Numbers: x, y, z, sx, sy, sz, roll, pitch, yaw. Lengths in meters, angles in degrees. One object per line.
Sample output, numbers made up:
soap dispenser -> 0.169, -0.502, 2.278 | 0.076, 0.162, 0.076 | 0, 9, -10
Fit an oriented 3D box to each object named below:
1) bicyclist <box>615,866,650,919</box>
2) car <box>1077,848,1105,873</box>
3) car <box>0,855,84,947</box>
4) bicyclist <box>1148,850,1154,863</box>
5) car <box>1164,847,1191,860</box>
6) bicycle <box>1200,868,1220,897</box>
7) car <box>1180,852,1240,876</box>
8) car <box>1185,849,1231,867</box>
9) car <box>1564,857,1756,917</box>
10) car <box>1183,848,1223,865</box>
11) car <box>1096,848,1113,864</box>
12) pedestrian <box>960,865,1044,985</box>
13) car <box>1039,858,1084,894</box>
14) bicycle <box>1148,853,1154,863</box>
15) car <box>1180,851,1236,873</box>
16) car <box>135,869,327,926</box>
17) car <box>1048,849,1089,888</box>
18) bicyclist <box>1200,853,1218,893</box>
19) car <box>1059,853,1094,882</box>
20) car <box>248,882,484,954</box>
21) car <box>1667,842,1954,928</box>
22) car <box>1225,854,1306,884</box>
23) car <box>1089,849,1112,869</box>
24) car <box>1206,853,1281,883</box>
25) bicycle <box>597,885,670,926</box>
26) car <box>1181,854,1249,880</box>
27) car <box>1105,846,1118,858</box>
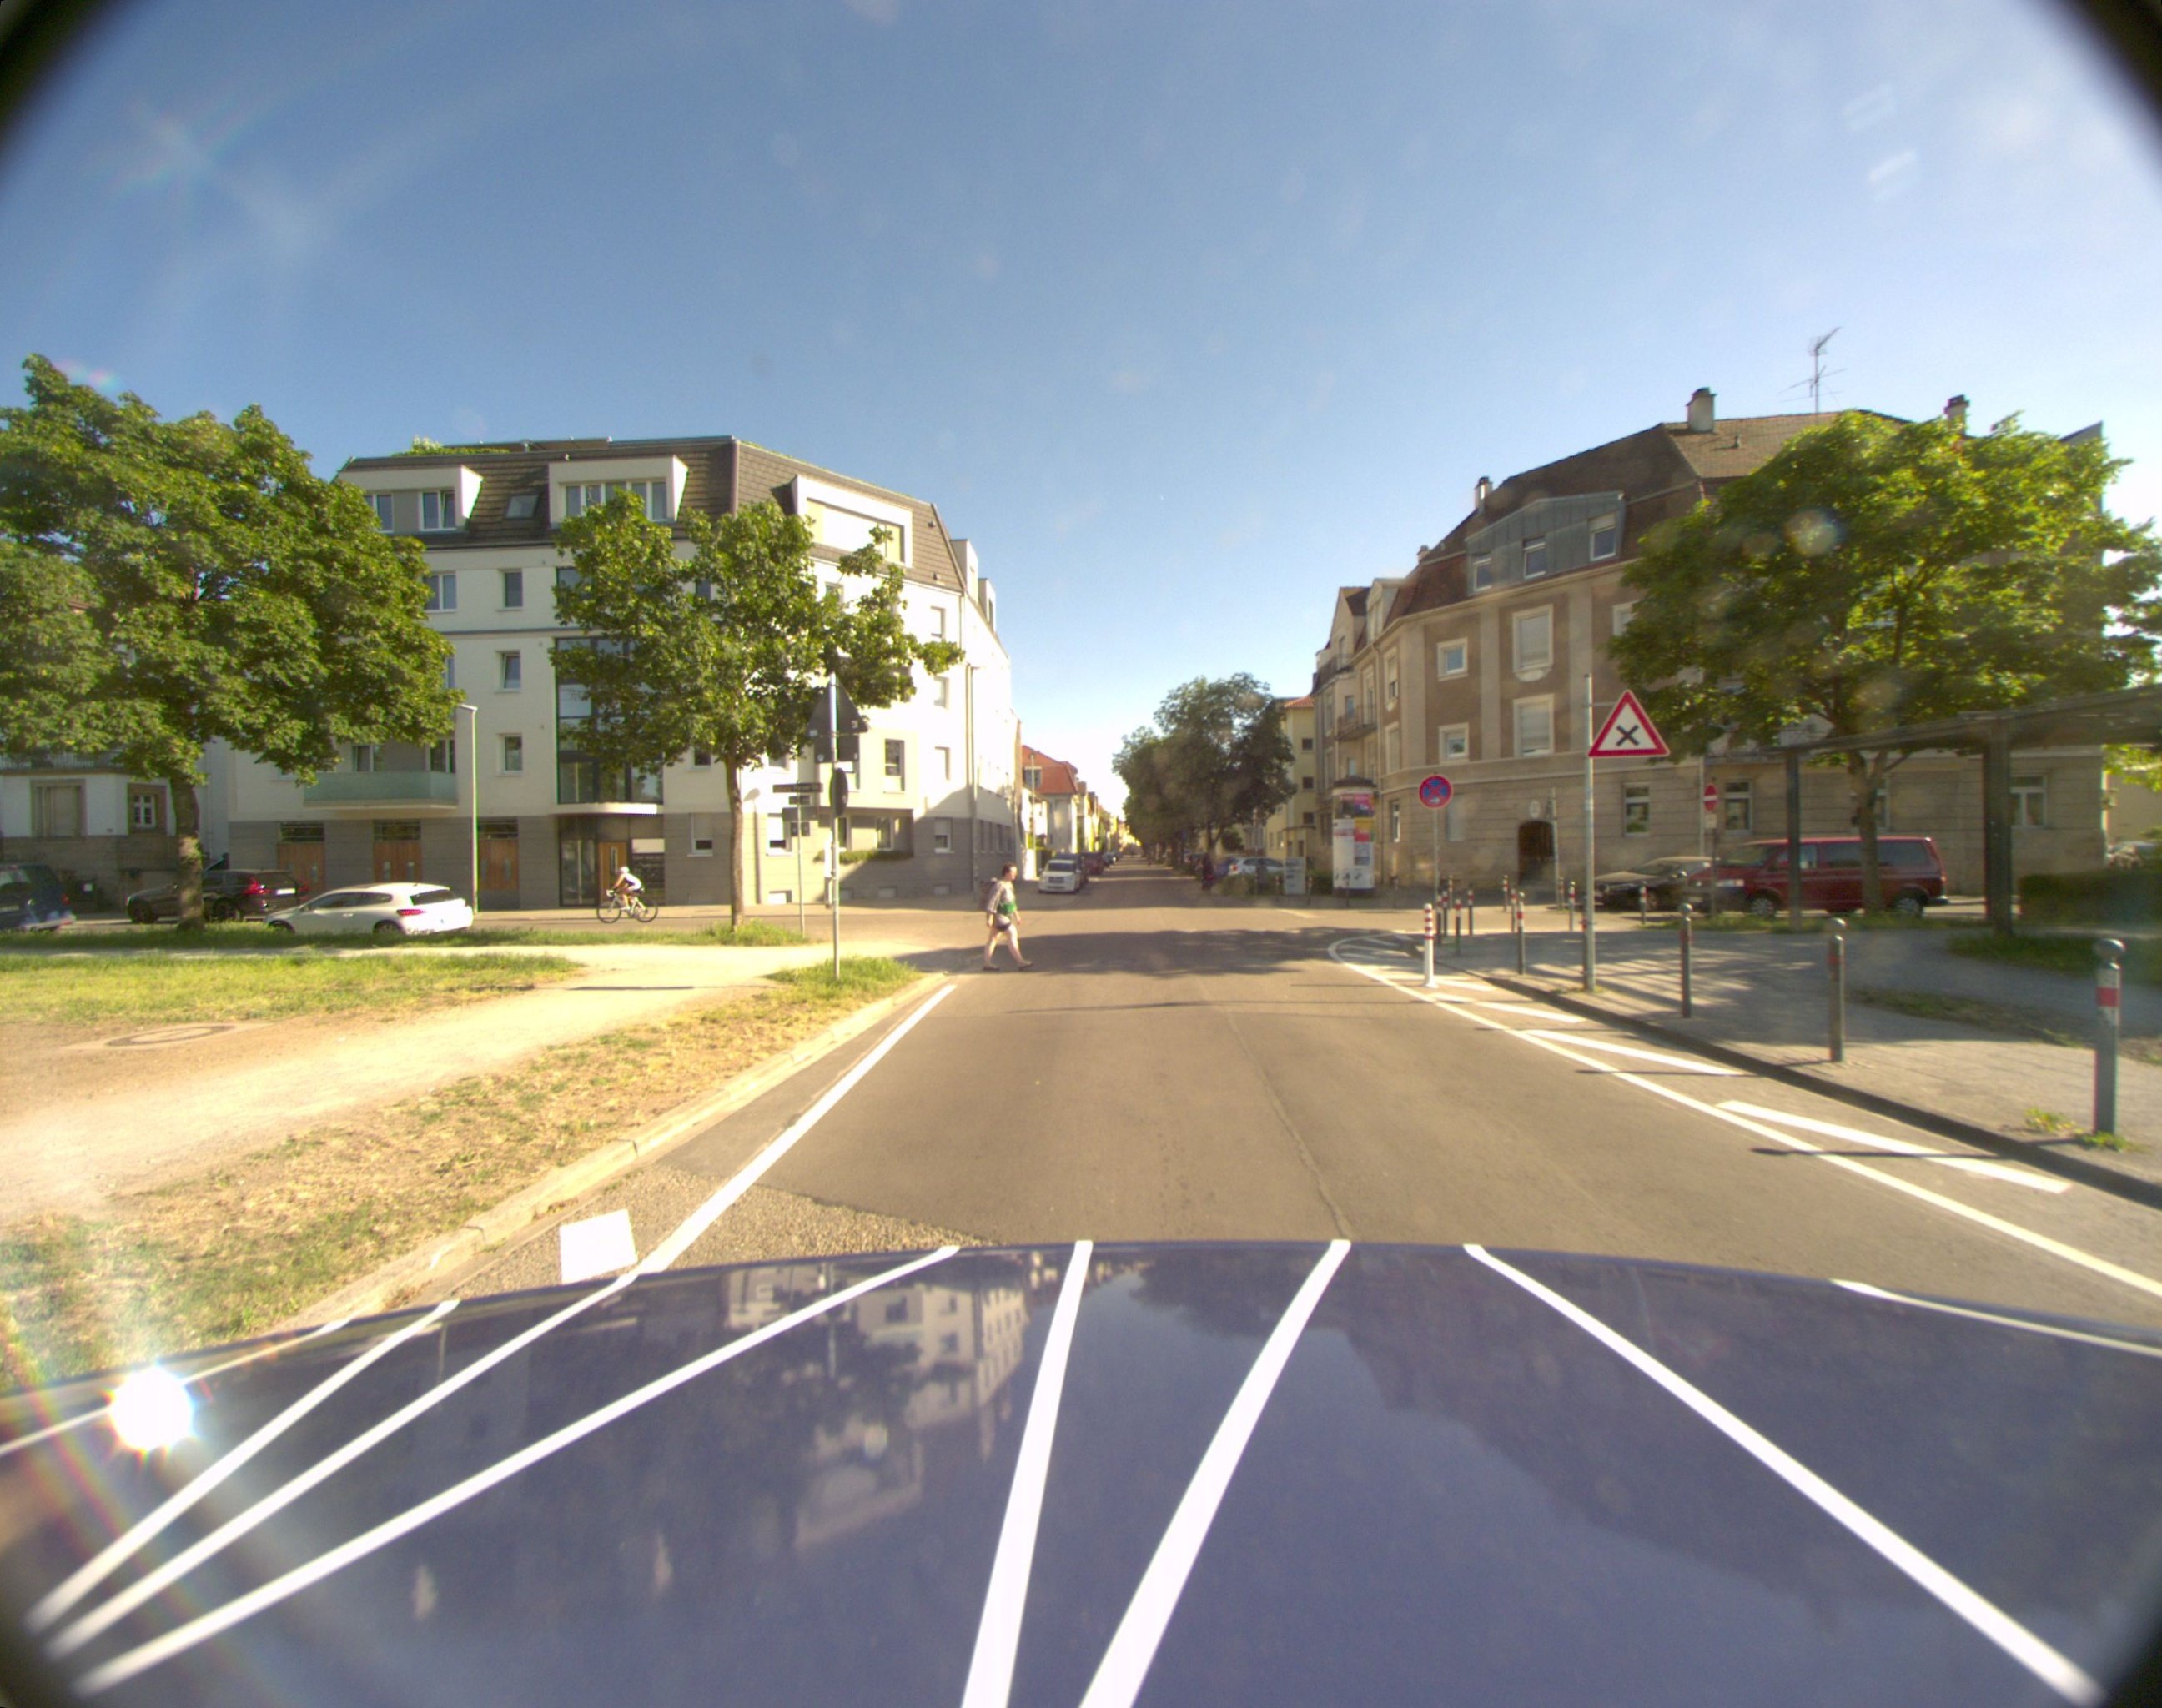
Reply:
bicyclist -> -12.627, 1.062, 21.393 | 0.687, 1.455, 0.497 | -1, 1, -7
car -> 0.841, 0.504, 60.720 | 1.883, 1.860, 4.403 | 2, 1, 4
car -> -27.508, 1.147, 18.569 | 3.989, 2.073, 1.783 | -1, 5, 5
bicyclist -> 8.376, 0.317, 90.983 | 0.644, 1.557, 1.043 | -1, 1, 5
car -> 13.324, -0.109, 104.699 | 3.527, 1.693, 1.692 | -2, 1, 2
bicycle -> 5.230, 1.135, 30.944 | 0.644, 1.102, 2.066 | -1, 0, 5
car -> 9.079, 0.694, 53.481 | 3.791, 1.486, 1.691 | -2, 0, -9
car -> 11.370, 0.340, 67.995 | 3.789, 1.486, 1.692 | -2, 0, -1
car -> 16.453, 0.913, 21.756 | 4.011, 1.476, 1.867 | -1, 4, 1
car -> 11.584, 0.256, 72.433 | 3.528, 1.486, 1.692 | -2, 0, -1
car -> 2.800, 0.207, 90.199 | 1.883, 1.860, 4.403 | -1, 0, 4
pedestrian -> -1.215, 1.036, 11.550 | 1.090, 1.665, 0.912 | -3, 1, -12
car -> -0.825, 0.957, 34.510 | 1.664, 1.440, 3.689 | 2, 1, 4
bicycle -> 8.385, 0.484, 91.005 | 0.644, 1.102, 2.066 | -1, 0, 5
car -> 9.416, 0.582, 56.454 | 3.791, 1.486, 1.691 | -2, 0, -9
car -> -27.513, 1.380, 24.677 | 4.284, 1.673, 1.896 | -1, 2, 5
car -> -0.589, 0.703, 38.967 | 1.664, 1.825, 4.258 | 2, 1, 4
bicyclist -> 5.234, 0.751, 31.032 | 0.644, 1.610, 0.637 | -1, 1, 5
car -> -0.224, 0.767, 44.361 | 1.664, 1.533, 4.067 | 2, 1, 4
car -> -16.918, 1.489, 18.106 | 3.990, 1.426, 1.739 | -1, 4, 4
car -> 17.489, 0.713, 18.460 | 4.880, 1.950, 1.897 | 0, 2, 6
car -> 9.631, 0.766, 39.866 | 3.788, 1.436, 1.692 | -2, 0, 1
car -> 1.953, 0.459, 74.887 | 1.883, 1.860, 4.403 | 2, 1, 4
car -> 8.970, 0.767, 42.097 | 3.788, 1.486, 1.692 | -2, 0, 1
bicycle -> -12.587, 1.431, 21.402 | 1.709, 1.082, 0.507 | -1, 1, -7
car -> 8.308, 0.802, 47.318 | 3.791, 1.486, 1.691 | -2, 0, -9
car -> 4.720, -0.319, 116.626 | 1.883, 1.734, 4.403 | -1, 0, 4
